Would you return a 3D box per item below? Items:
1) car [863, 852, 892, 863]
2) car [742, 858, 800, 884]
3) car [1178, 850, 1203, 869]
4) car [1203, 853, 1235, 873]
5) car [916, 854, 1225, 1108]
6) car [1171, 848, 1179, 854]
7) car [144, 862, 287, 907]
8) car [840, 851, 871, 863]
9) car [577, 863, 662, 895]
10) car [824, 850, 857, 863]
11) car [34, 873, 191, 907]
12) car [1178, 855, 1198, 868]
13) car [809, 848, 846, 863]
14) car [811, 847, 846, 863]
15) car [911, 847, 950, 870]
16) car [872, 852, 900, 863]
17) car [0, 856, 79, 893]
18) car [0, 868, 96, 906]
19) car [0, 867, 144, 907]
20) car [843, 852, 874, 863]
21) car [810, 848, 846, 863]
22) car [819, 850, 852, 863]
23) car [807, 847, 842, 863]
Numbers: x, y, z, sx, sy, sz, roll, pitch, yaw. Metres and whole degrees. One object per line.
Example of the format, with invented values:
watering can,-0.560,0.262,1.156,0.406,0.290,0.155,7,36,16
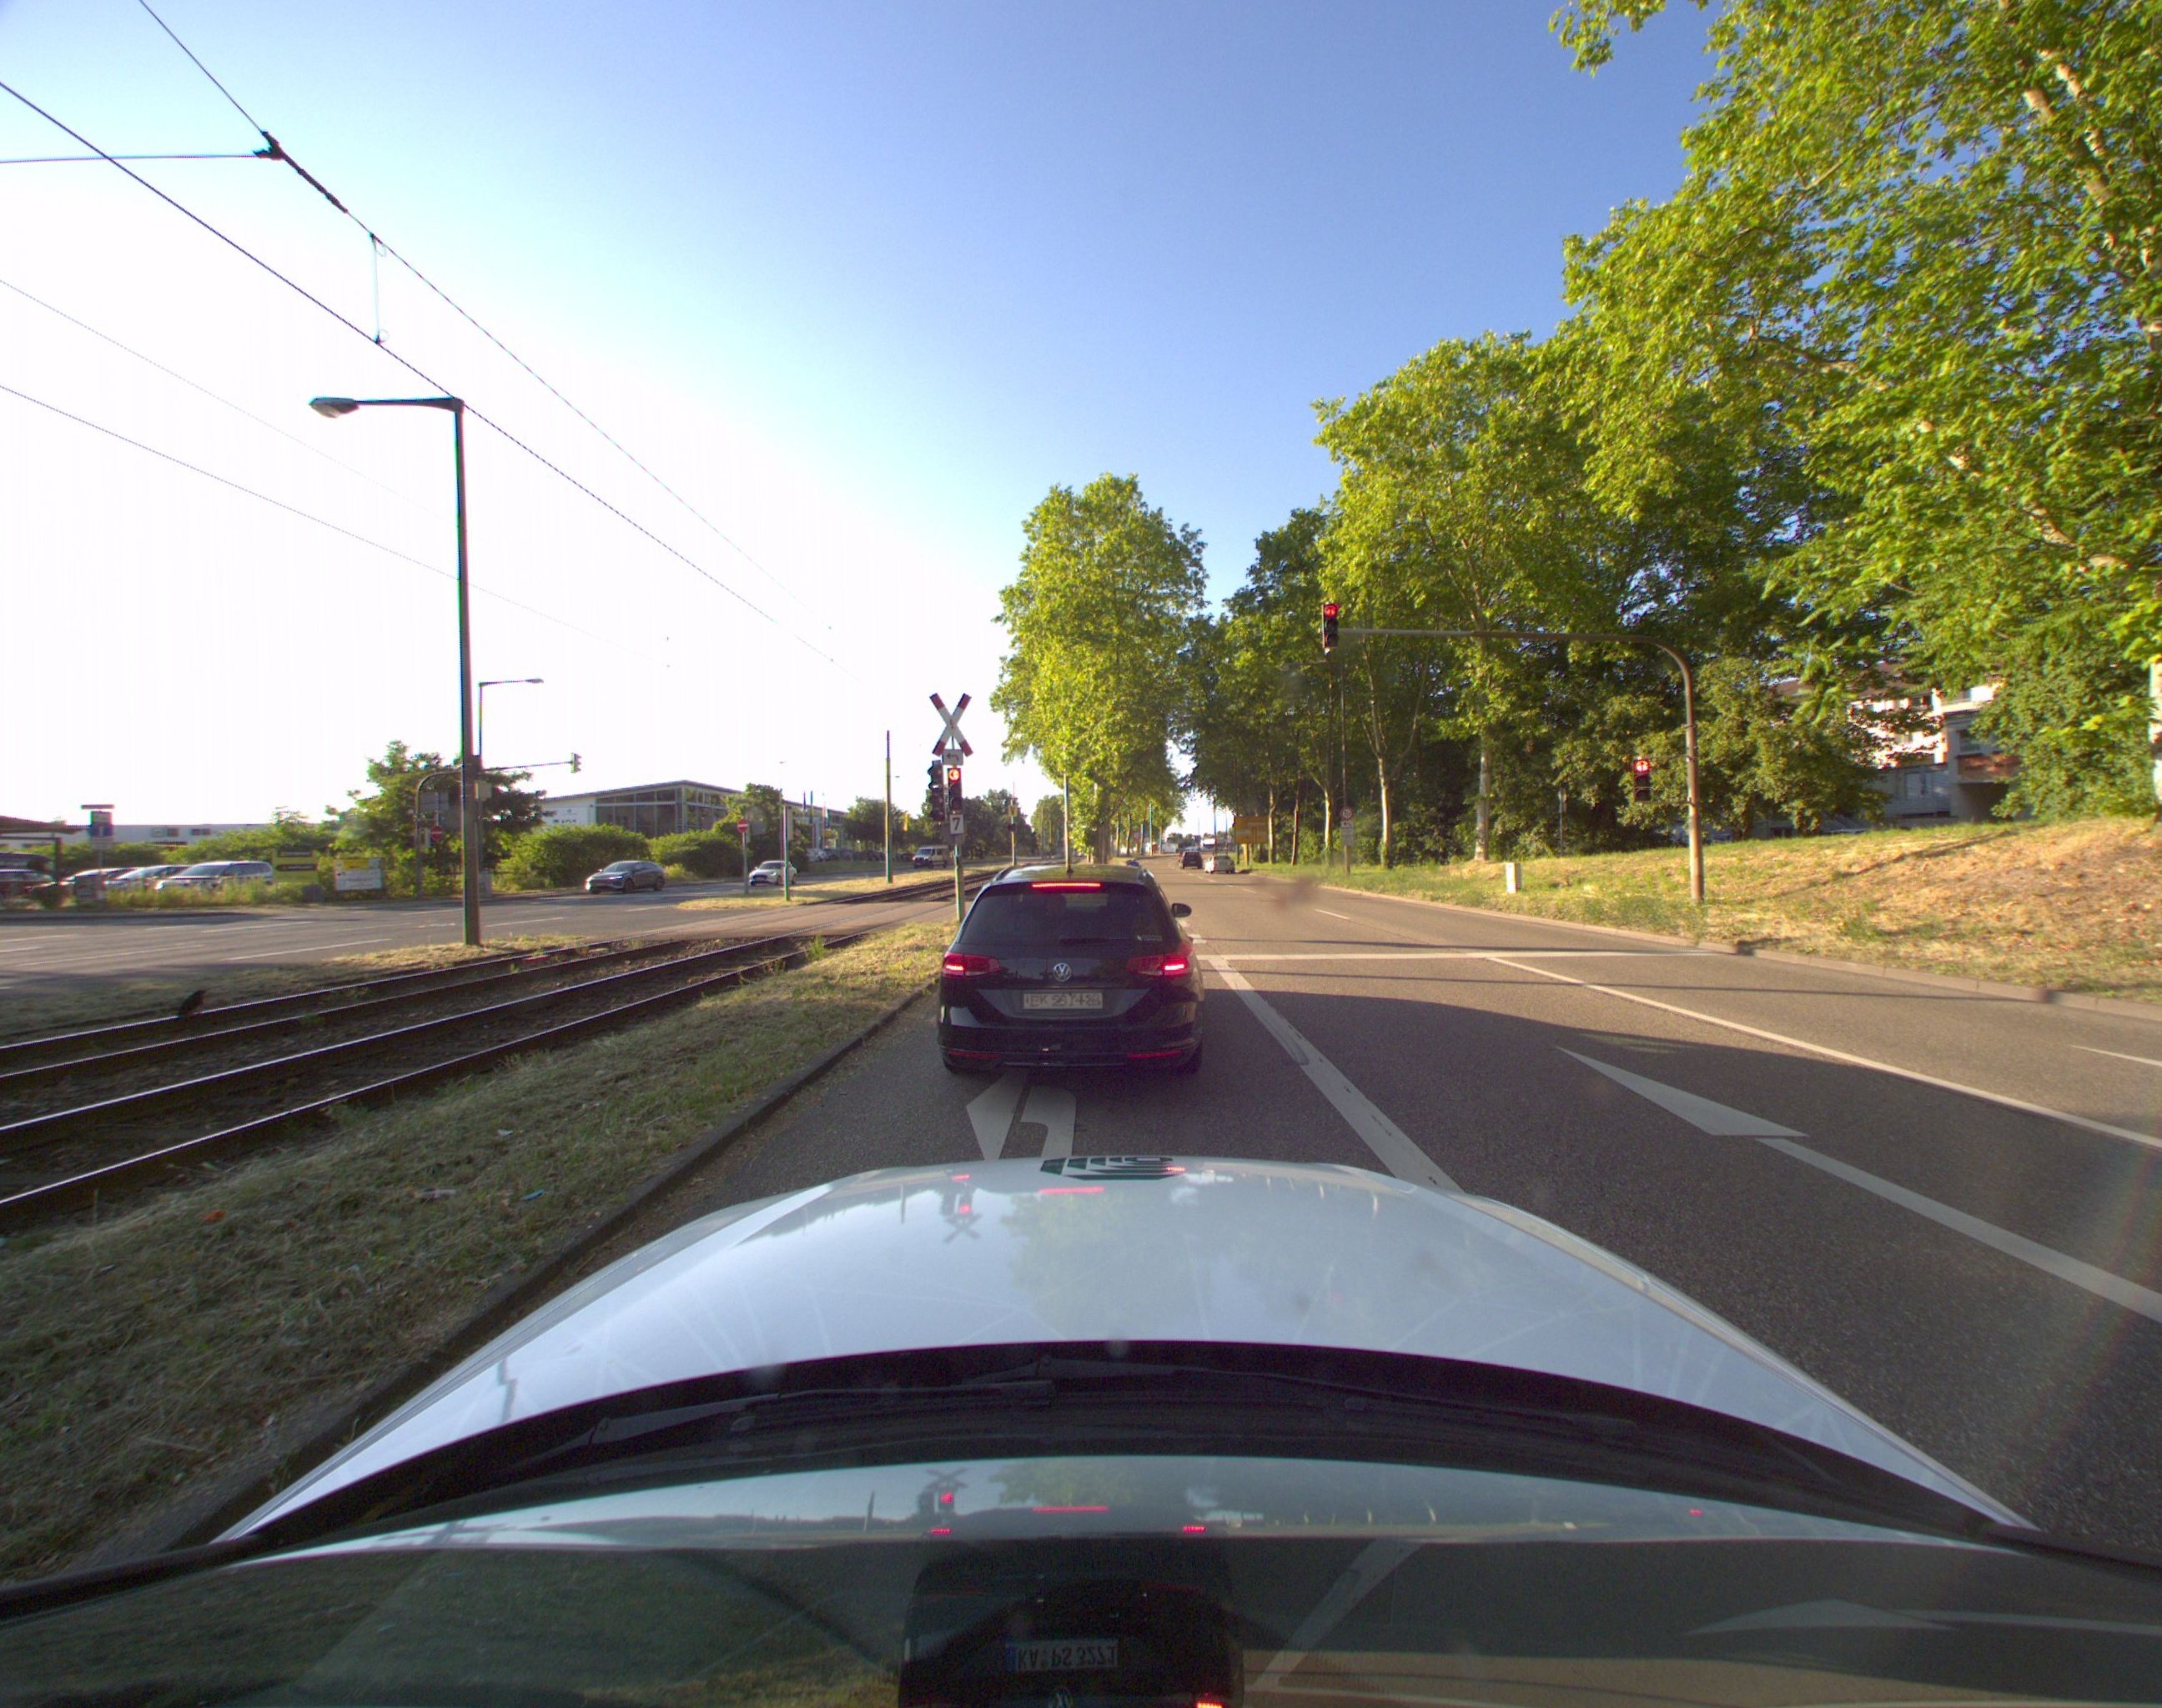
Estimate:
car,-30.611,0.543,122.750,3.978,1.621,1.742,-1,0,-3
car,-19.214,1.043,50.694,1.854,1.481,4.094,0,0,3
car,9.467,0.439,70.762,1.701,1.561,4.167,-1,0,1
car,9.620,0.615,56.979,1.603,1.294,3.983,0,0,1
car,-0.016,0.742,6.529,1.788,1.464,3.584,0,0,1
car,22.460,-0.605,194.767,1.983,1.420,4.007,-1,0,7
car,-38.523,1.320,36.415,1.855,1.821,4.174,0,0,2
car,-31.232,0.435,112.611,3.999,1.556,1.732,-1,0,-19
car,-23.904,1.268,42.366,1.854,1.481,4.176,0,0,3
car,-31.368,0.343,106.213,3.999,1.556,1.732,-1,0,-19
car,-42.470,1.561,35.893,1.855,1.267,4.174,0,0,2
car,13.554,0.919,102.756,1.858,1.635,4.388,-1,0,15
car,-29.264,0.144,94.119,3.999,1.704,1.732,-1,0,-19
car,-30.605,0.126,98.742,3.999,1.816,1.732,-1,0,-19
car,-16.991,0.460,92.380,2.080,2.461,5.874,0,0,14
car,-30.123,0.587,125.952,3.978,1.621,1.742,-1,0,-3
car,-60.421,1.150,45.907,1.855,2.014,4.773,0,0,2
car,-47.159,1.450,36.048,1.970,1.583,4.174,0,0,2
car,-44.710,1.401,35.896,1.855,1.583,4.174,0,0,2
car,-31.441,0.473,115.318,3.983,1.556,1.739,-1,0,-7
car,-29.953,0.162,96.387,3.999,1.704,1.732,-1,0,-19
car,-31.154,0.299,103.422,3.999,1.556,1.732,-1,0,-19
car,-31.648,0.128,100.523,3.999,1.816,1.732,-1,0,-19
